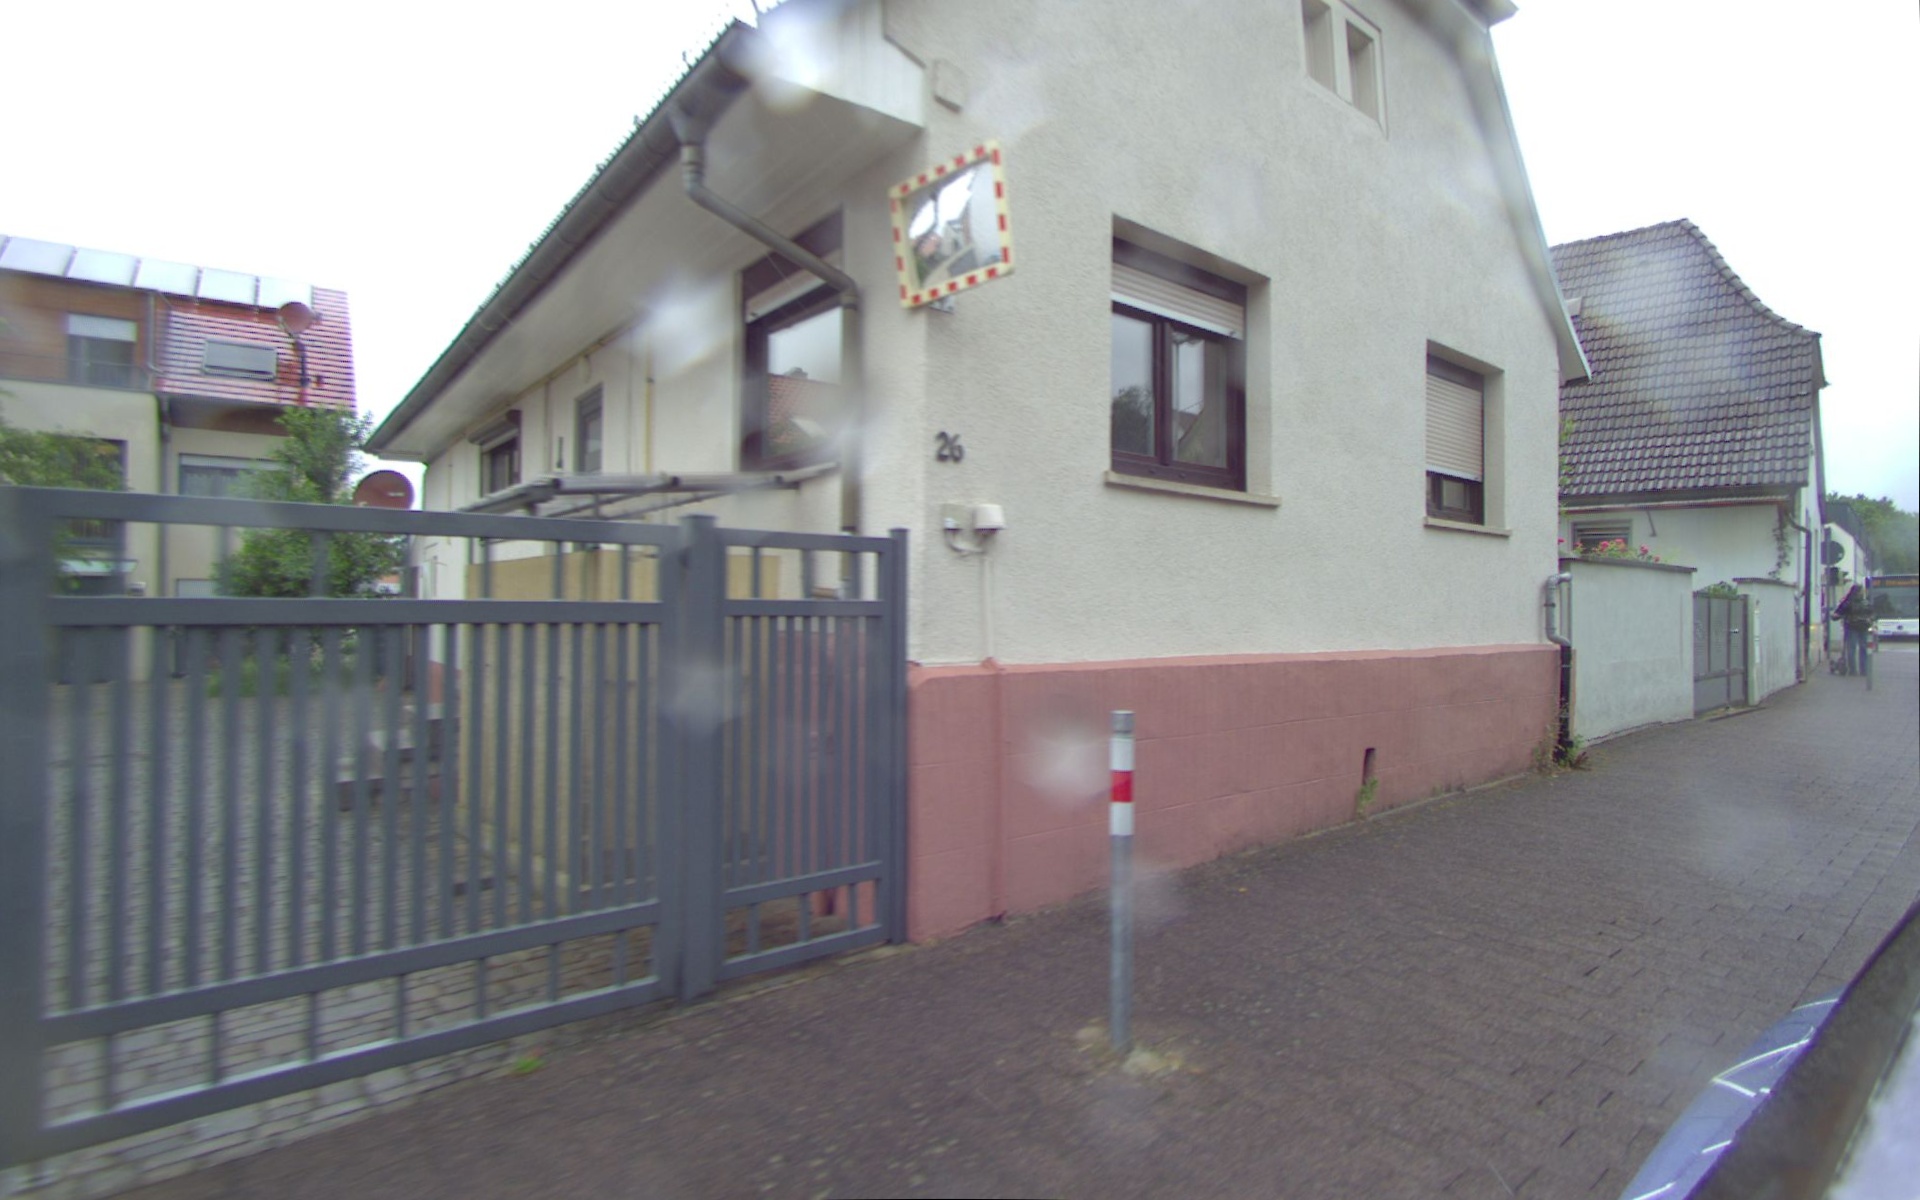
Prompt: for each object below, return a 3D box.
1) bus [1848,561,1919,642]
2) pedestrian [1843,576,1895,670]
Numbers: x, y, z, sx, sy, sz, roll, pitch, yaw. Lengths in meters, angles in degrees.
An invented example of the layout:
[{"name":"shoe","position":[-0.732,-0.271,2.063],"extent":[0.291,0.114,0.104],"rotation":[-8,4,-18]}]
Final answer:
[{"name":"bus","position":[45.681,0.060,48.107],"extent":[13.629,3.455,3.437],"rotation":[0,0,-41]},{"name":"pedestrian","position":[17.436,0.434,19.413],"extent":[0.694,1.754,0.808],"rotation":[-1,-1,44]}]
